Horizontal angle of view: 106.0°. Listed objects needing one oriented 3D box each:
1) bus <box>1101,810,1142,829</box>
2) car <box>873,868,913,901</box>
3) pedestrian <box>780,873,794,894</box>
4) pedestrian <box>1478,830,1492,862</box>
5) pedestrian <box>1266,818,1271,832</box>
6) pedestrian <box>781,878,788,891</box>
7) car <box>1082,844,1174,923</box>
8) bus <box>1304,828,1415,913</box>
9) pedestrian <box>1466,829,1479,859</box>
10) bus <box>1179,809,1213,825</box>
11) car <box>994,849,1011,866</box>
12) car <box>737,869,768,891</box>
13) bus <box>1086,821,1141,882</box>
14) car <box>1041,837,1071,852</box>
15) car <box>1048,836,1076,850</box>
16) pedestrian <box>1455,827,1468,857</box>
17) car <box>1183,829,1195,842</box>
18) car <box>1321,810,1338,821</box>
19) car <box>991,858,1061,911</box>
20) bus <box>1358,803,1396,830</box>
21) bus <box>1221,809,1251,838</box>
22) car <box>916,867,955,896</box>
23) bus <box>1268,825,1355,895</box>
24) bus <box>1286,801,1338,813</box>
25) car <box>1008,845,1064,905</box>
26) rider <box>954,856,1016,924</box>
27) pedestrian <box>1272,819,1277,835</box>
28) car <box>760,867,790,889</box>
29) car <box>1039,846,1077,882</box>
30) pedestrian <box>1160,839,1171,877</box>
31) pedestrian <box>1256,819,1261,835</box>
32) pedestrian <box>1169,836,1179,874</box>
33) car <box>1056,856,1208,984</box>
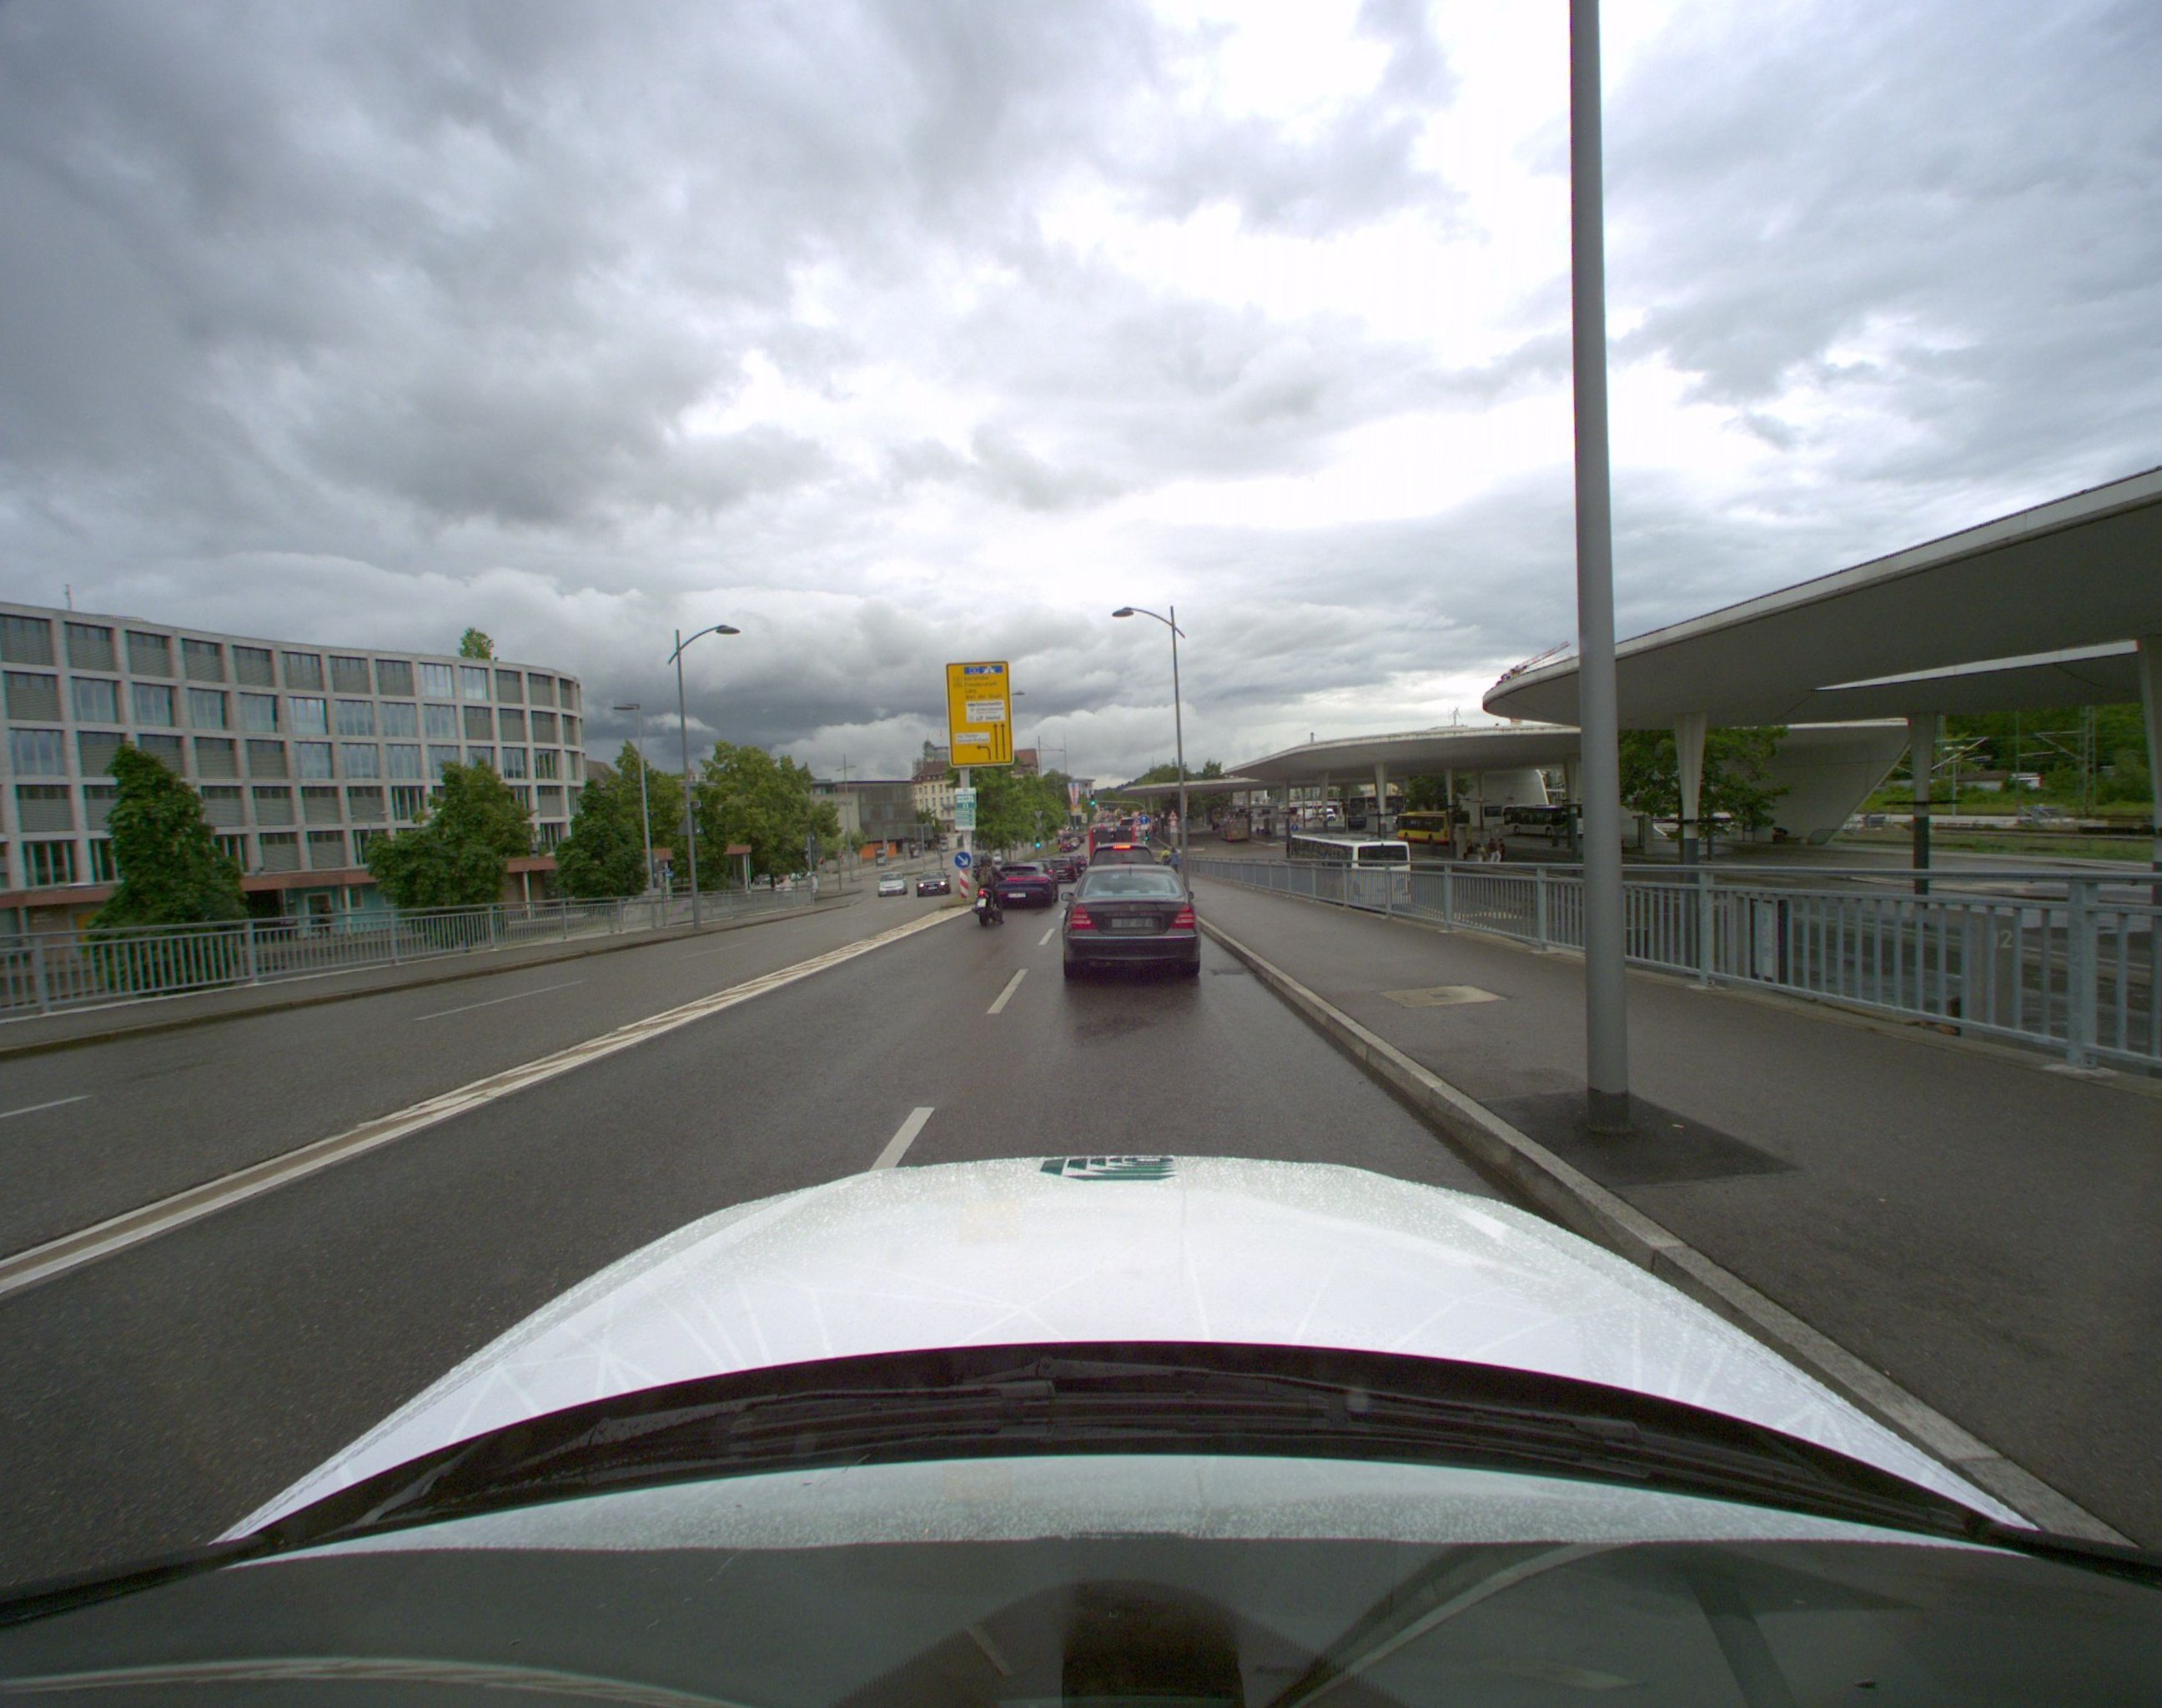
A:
[{"bbox_3d":[9.136,-7.857,185.054,3.282,4.006,10.774,-6,5,-36],"label":"bus"},{"bbox_3d":[-12.704,2.023,55.168,1.991,2.013,3.992,-3,0,-5],"label":"car"},{"bbox_3d":[-20.421,2.028,56.618,0.645,1.408,0.531,-3,2,4],"label":"pedestrian"},{"bbox_3d":[26.335,-0.519,53.069,0.558,2.013,0.484,-3,0,4],"label":"pedestrian"},{"bbox_3d":[25.835,-3.986,112.269,0.422,2.013,0.484,-3,0,4],"label":"pedestrian"},{"bbox_3d":[-20.611,2.144,56.582,0.299,0.873,0.299,-3,2,4],"label":"pedestrian"},{"bbox_3d":[1.246,0.622,19.823,1.816,1.687,4.010,-1,1,9],"label":"car"},{"bbox_3d":[12.929,0.605,38.503,2.639,3.235,7.070,-3,4,-1],"label":"bus"},{"bbox_3d":[26.730,-0.667,55.654,0.541,2.013,0.580,-3,0,3],"label":"pedestrian"},{"bbox_3d":[26.912,-8.593,190.887,7.179,3.396,3.080,-3,2,-2],"label":"bus"},{"bbox_3d":[-9.851,0.427,102.936,1.990,2.014,4.195,-3,-1,-5],"label":"car"},{"bbox_3d":[-33.219,2.593,82.371,2.008,2.013,3.958,2,1,-35],"label":"car"},{"bbox_3d":[1.889,-0.154,48.456,2.816,3.189,10.313,-1,0,2],"label":"bus"},{"bbox_3d":[-3.629,-1.429,119.131,3.967,2.013,2.004,-3,1,6],"label":"car"},{"bbox_3d":[-2.932,-1.689,125.694,3.967,2.013,2.004,-3,1,6],"label":"car"},{"bbox_3d":[26.665,-0.831,57.059,0.541,2.013,0.580,-3,0,3],"label":"pedestrian"},{"bbox_3d":[18.253,-3.124,137.621,1.982,2.013,4.009,-3,1,8],"label":"car"},{"bbox_3d":[47.895,-7.345,156.972,1.986,2.013,4.002,-3,2,2],"label":"car"},{"bbox_3d":[-1.641,0.890,25.550,1.753,1.436,4.003,-1,1,2],"label":"car"},{"bbox_3d":[37.773,-4.721,104.064,2.588,3.209,7.002,-3,2,4],"label":"bus"},{"bbox_3d":[21.253,-4.046,112.020,3.162,3.600,10.531,-3,0,7],"label":"bus"},{"bbox_3d":[-8.654,1.612,48.728,1.830,1.526,4.585,-3,-1,-5],"label":"car"},{"bbox_3d":[12.738,0.190,45.613,2.639,3.235,7.070,-3,4,-1],"label":"bus"},{"bbox_3d":[47.890,-9.718,169.158,10.139,2.013,2.169,-3,1,-1],"label":"bus"},{"bbox_3d":[-1.918,0.981,35.619,1.985,2.008,4.000,-1,-10,3],"label":"car"},{"bbox_3d":[-2.200,0.795,18.974,0.876,1.472,2.201,-1,0,8],"label":"rider"},{"bbox_3d":[25.823,-3.597,108.692,0.422,2.014,0.484,-3,-2,4],"label":"pedestrian"},{"bbox_3d":[-31.496,2.480,83.807,2.008,2.013,3.958,2,1,-35],"label":"car"},{"bbox_3d":[-1.348,0.579,48.677,1.986,2.006,4.001,-1,1,1],"label":"car"},{"bbox_3d":[4.541,0.197,43.841,0.487,2.014,0.470,-3,-2,4],"label":"pedestrian"},{"bbox_3d":[23.336,-3.538,106.980,0.422,2.013,0.484,-3,0,4],"label":"pedestrian"},{"bbox_3d":[4.981,0.067,43.641,0.422,2.014,0.484,-3,-2,4],"label":"pedestrian"},{"bbox_3d":[0.689,0.753,11.042,1.698,1.419,3.729,0,0,3],"label":"car"}]
